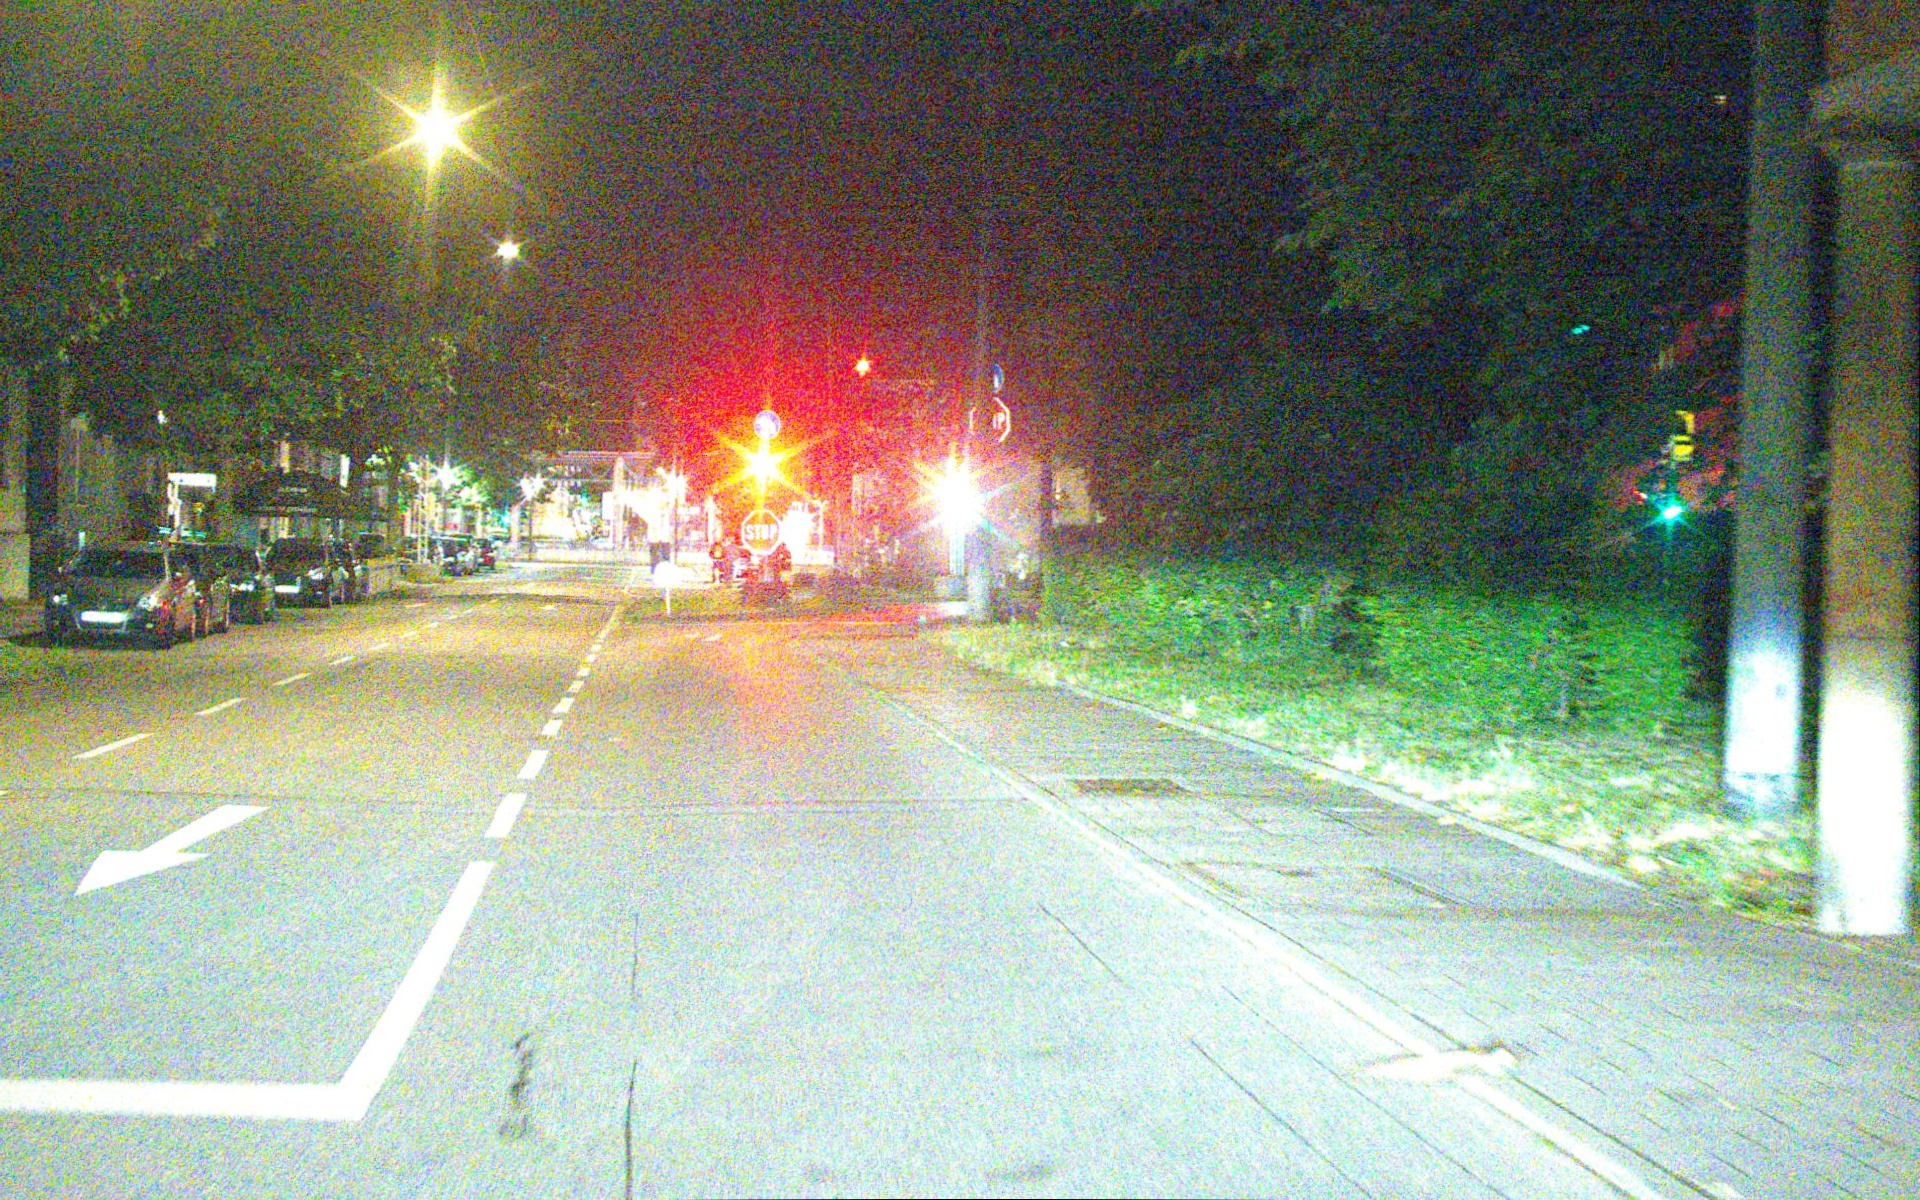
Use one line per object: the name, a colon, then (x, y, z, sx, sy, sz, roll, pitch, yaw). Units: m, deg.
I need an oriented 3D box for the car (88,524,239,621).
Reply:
car: (-12.708, -0.462, 55.090, 1.767, 1.480, 4.865, 0, 1, -6)

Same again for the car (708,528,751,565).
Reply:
car: (-9.079, -2.129, 135.447, 1.651, 1.426, 4.001, 0, 1, -4)

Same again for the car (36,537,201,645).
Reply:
car: (-12.183, -0.163, 50.017, 1.767, 1.480, 4.769, 0, 1, -7)

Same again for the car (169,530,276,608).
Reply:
car: (-13.563, -0.594, 63.389, 1.622, 1.378, 4.453, 0, 1, -8)

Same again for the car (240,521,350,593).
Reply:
car: (-14.742, -0.975, 76.423, 1.899, 1.466, 4.453, 2, 1, -5)
